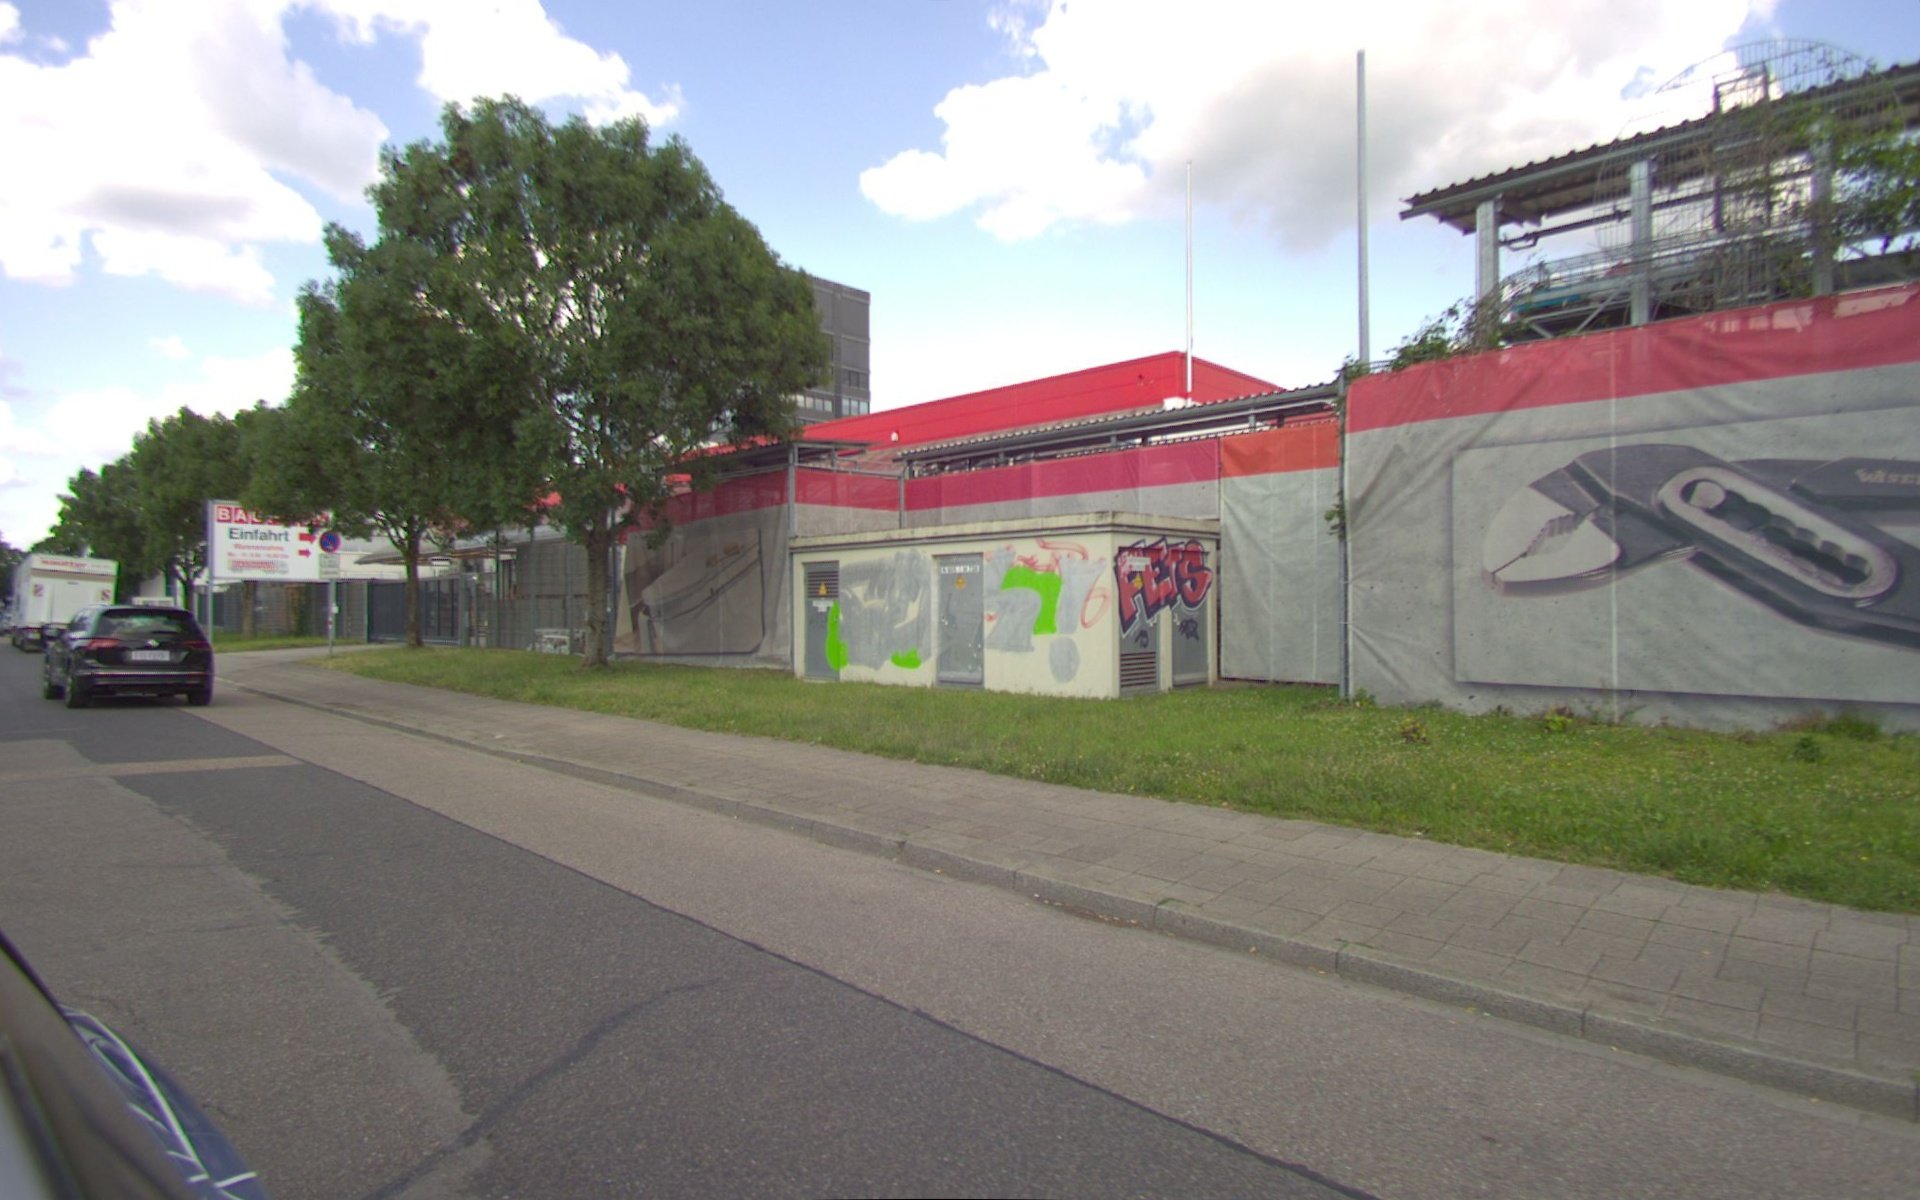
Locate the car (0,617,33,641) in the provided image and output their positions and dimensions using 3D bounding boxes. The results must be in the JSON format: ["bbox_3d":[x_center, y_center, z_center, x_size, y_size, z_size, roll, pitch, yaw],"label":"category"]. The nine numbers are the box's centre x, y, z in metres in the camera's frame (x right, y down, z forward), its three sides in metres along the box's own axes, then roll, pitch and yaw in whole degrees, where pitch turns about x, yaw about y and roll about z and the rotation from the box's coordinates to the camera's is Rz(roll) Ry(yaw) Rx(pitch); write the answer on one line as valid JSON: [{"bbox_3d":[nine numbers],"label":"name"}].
[{"bbox_3d":[-64.218,1.958,68.516,4.001,1.586,1.955,-1,-1,44],"label":"car"}]

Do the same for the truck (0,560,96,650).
[{"bbox_3d":[-42.173,0.287,46.716,7.174,3.838,2.717,-1,-2,44],"label":"truck"}]

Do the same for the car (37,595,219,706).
[{"bbox_3d":[-14.123,0.830,17.093,4.295,1.632,1.852,-1,-5,45],"label":"car"}]

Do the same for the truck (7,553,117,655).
[{"bbox_3d":[-36.216,0.192,40.732,7.174,3.751,2.717,0,-1,44],"label":"truck"}]
